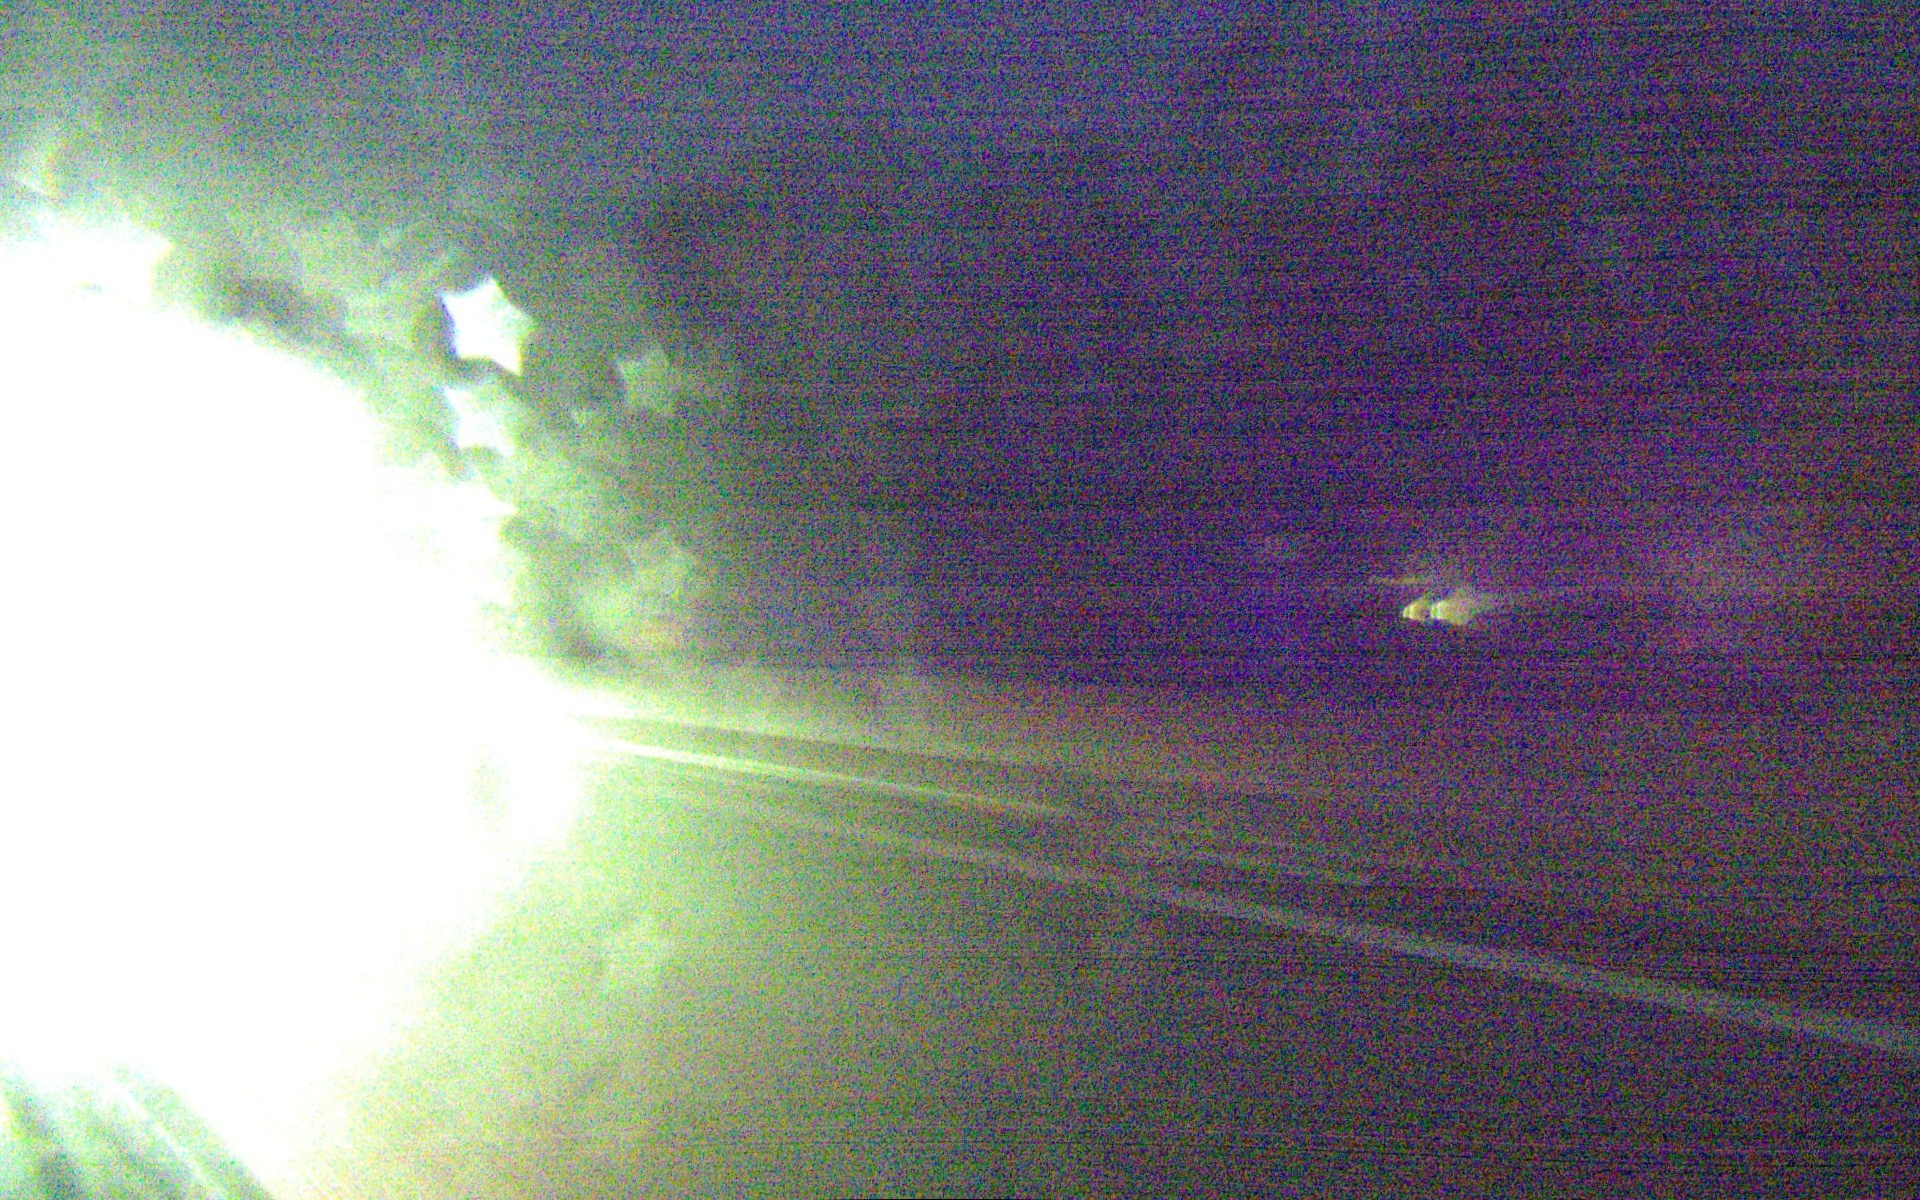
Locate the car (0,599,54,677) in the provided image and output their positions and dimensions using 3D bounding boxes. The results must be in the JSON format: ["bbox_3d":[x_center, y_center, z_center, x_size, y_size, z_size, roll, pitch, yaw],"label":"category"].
[{"bbox_3d":[-26.850,1.089,28.330,1.971,2.028,4.003,-4,1,-44],"label":"car"}]

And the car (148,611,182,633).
[{"bbox_3d":[-74.585,2.068,94.946,4.002,1.866,1.971,-3,2,45],"label":"car"}]
